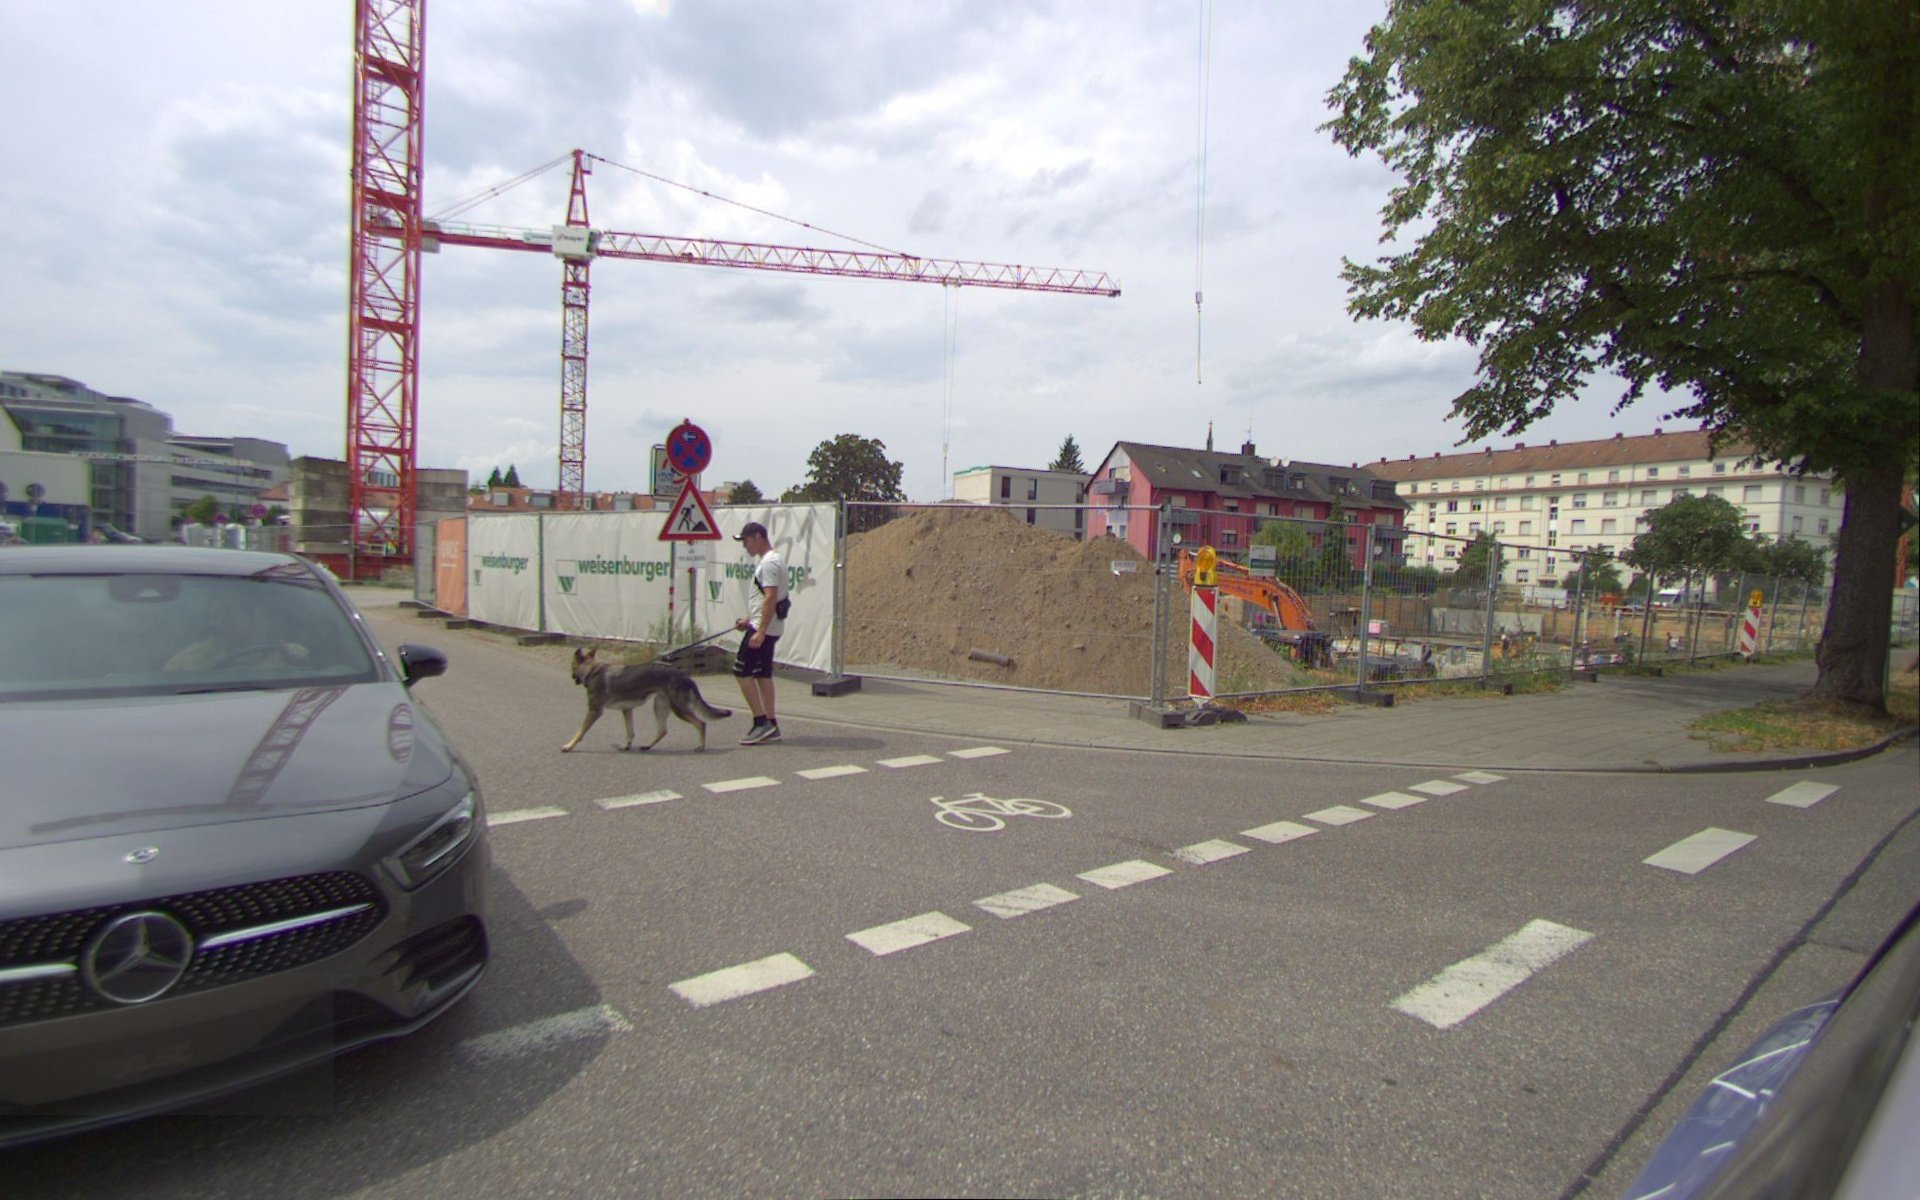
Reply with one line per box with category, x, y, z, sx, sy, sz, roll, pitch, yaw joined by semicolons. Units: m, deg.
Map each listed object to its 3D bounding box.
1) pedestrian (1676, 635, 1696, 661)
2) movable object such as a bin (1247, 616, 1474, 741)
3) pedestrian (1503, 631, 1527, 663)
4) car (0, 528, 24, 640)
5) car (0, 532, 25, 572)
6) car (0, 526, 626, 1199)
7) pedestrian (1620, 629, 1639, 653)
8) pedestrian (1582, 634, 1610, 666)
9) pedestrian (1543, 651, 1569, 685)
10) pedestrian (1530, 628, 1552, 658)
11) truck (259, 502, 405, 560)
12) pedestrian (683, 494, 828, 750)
pedestrian;52.063;3.443;72.587;0.706;1.742;0.846;3;3;-3
movable object such as a bin;10.660;1.981;27.330;3.068;2.620;4.709;2;3;-26
pedestrian;32.151;2.712;58.598;0.828;1.742;0.722;3;3;-6
car;-15.930;-0.298;15.537;1.867;1.740;4.207;4;1;-38
car;-36.872;-1.892;36.792;4.138;1.433;1.719;4;1;-44
car;-3.037;0.478;3.847;1.975;1.460;4.384;-1;4;-38
pedestrian;52.227;3.216;78.954;0.706;1.742;0.846;3;3;-3
pedestrian;38.228;2.997;60.841;0.966;1.742;0.845;4;3;2
pedestrian;31.996;3.652;54.361;0.705;1.742;0.847;2;3;-25
pedestrian;35.380;2.608;61.658;0.707;1.742;0.845;3;3;1
truck;-52.159;-5.703;84.489;10.059;4.182;3.358;2;3;-29
pedestrian;-1.602;0.149;7.811;0.870;1.836;0.887;2;3;-22
